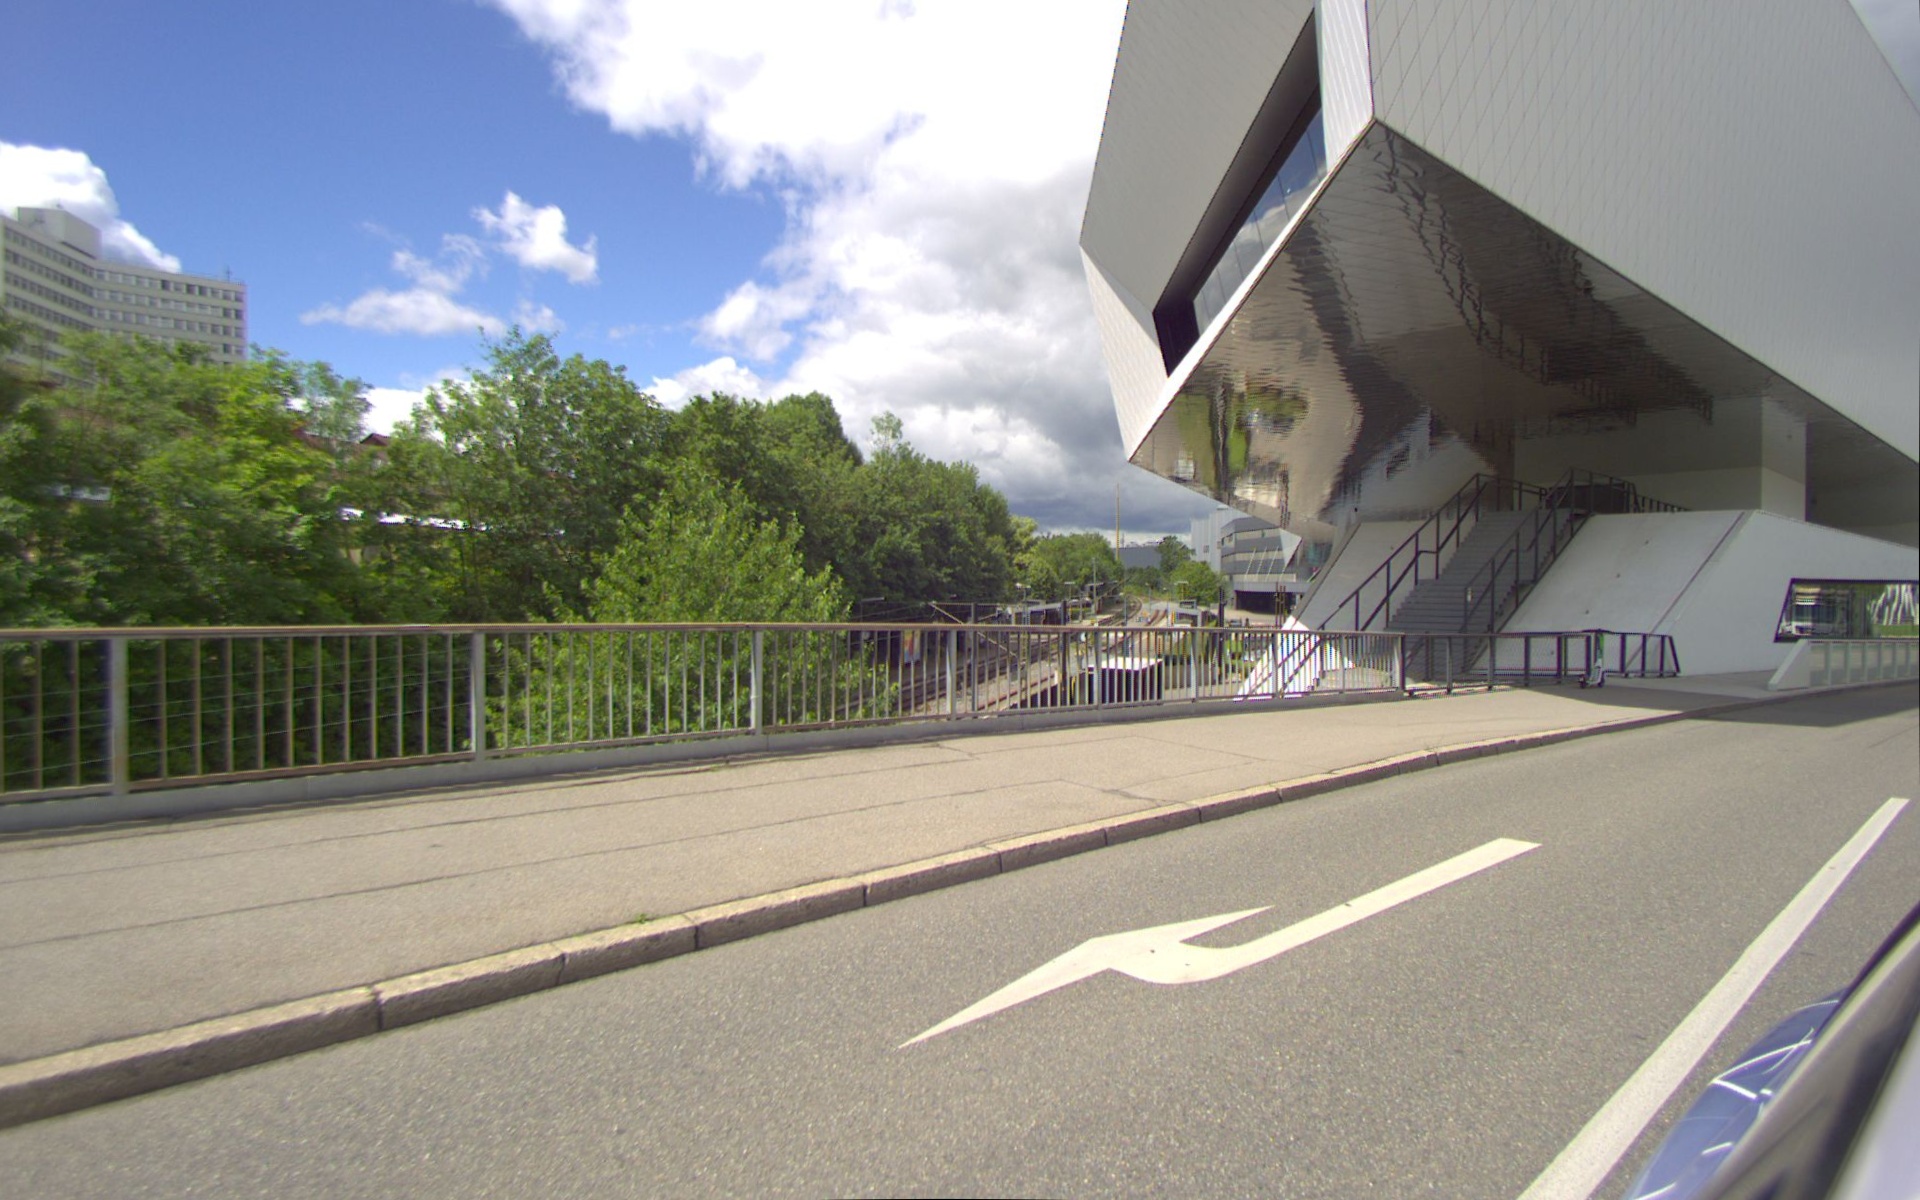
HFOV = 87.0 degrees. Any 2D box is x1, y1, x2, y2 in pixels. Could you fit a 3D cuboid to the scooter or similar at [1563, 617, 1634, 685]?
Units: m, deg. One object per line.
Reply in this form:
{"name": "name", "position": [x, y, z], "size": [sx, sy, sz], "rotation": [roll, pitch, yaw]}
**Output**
{"name": "scooter or similar", "position": [12.500, 0.974, 19.793], "size": [1.825, 1.229, 0.654], "rotation": [1, 0, -41]}
